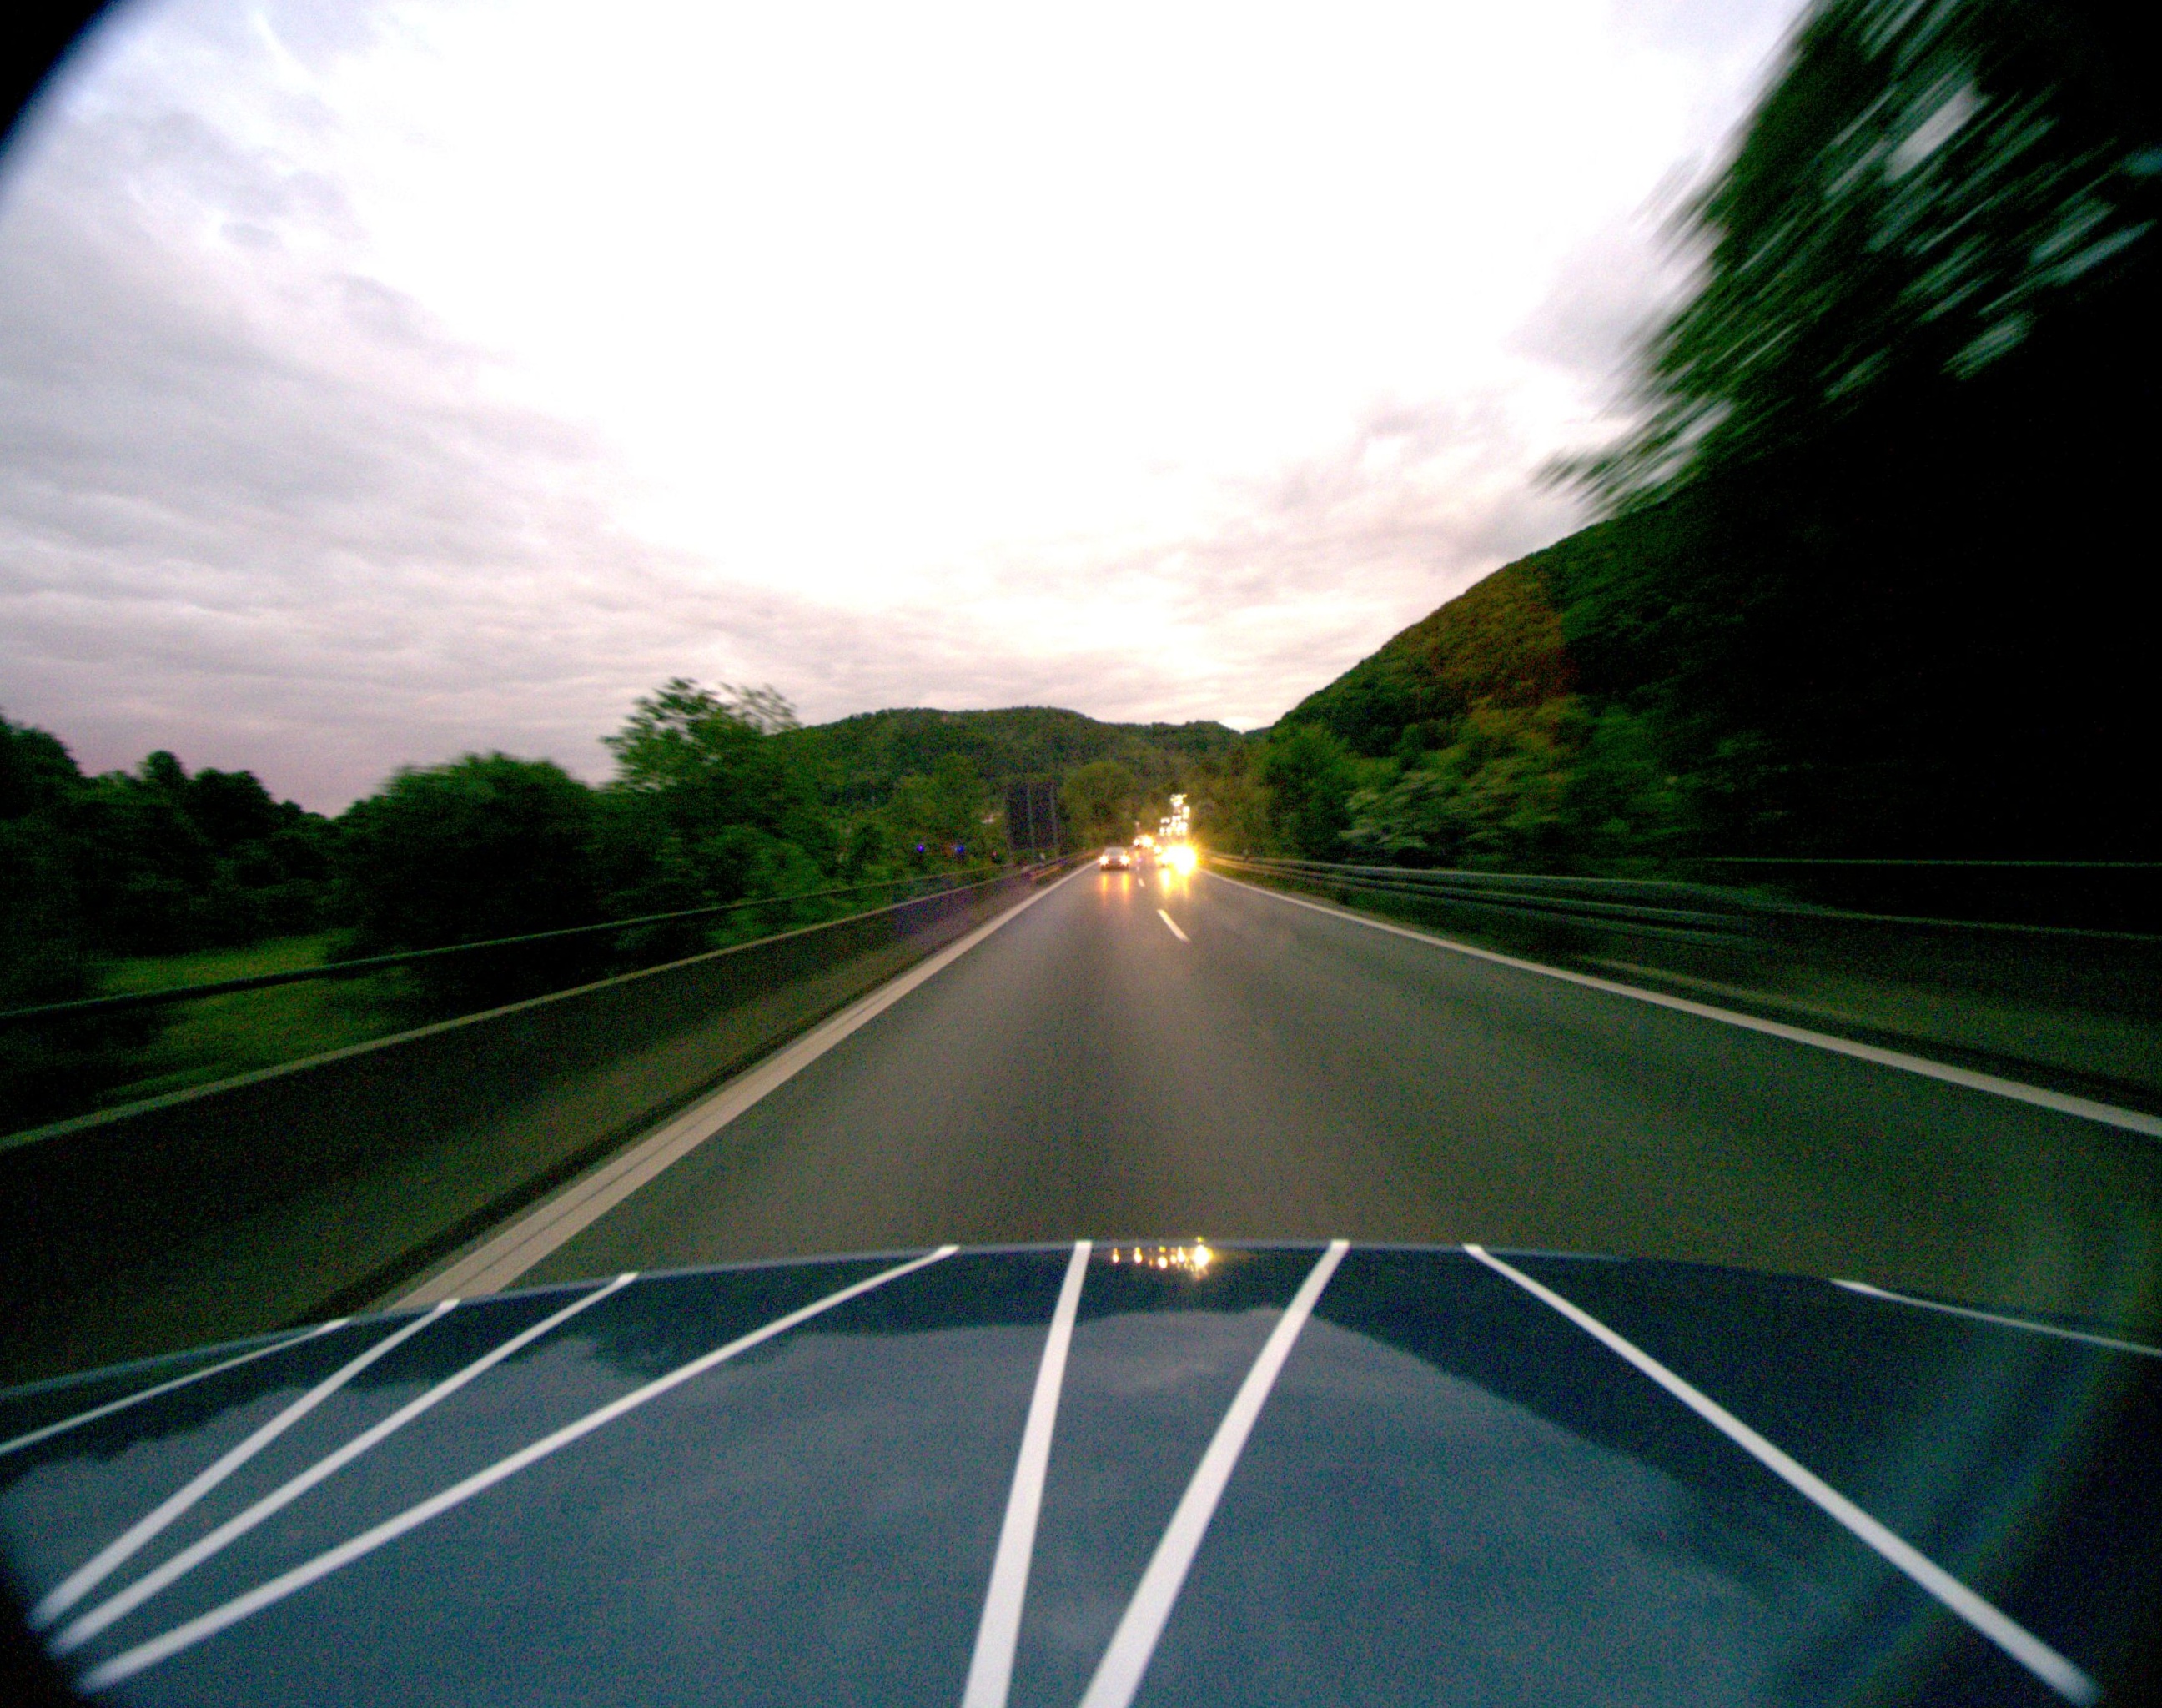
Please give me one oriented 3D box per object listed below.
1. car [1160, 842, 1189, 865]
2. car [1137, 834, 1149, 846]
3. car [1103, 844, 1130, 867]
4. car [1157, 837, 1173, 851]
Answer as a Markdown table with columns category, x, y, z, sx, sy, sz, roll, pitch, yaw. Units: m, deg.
| category | x | y | z | sx | sy | sz | roll | pitch | yaw |
| --- | --- | --- | --- | --- | --- | --- | --- | --- | --- |
| car | 6.438 | -0.090 | 52.608 | 1.689 | 1.460 | 3.768 | -3 | 1 | 4 |
| car | 9.069 | -2.092 | 110.860 | 1.737 | 1.641 | 3.669 | -3 | 1 | 5 |
| car | 2.326 | 0.062 | 50.700 | 1.690 | 1.443 | 3.668 | -3 | 1 | 2 |
| car | 9.123 | -1.081 | 82.717 | 1.689 | 1.425 | 3.669 | -3 | 1 | 5 |
